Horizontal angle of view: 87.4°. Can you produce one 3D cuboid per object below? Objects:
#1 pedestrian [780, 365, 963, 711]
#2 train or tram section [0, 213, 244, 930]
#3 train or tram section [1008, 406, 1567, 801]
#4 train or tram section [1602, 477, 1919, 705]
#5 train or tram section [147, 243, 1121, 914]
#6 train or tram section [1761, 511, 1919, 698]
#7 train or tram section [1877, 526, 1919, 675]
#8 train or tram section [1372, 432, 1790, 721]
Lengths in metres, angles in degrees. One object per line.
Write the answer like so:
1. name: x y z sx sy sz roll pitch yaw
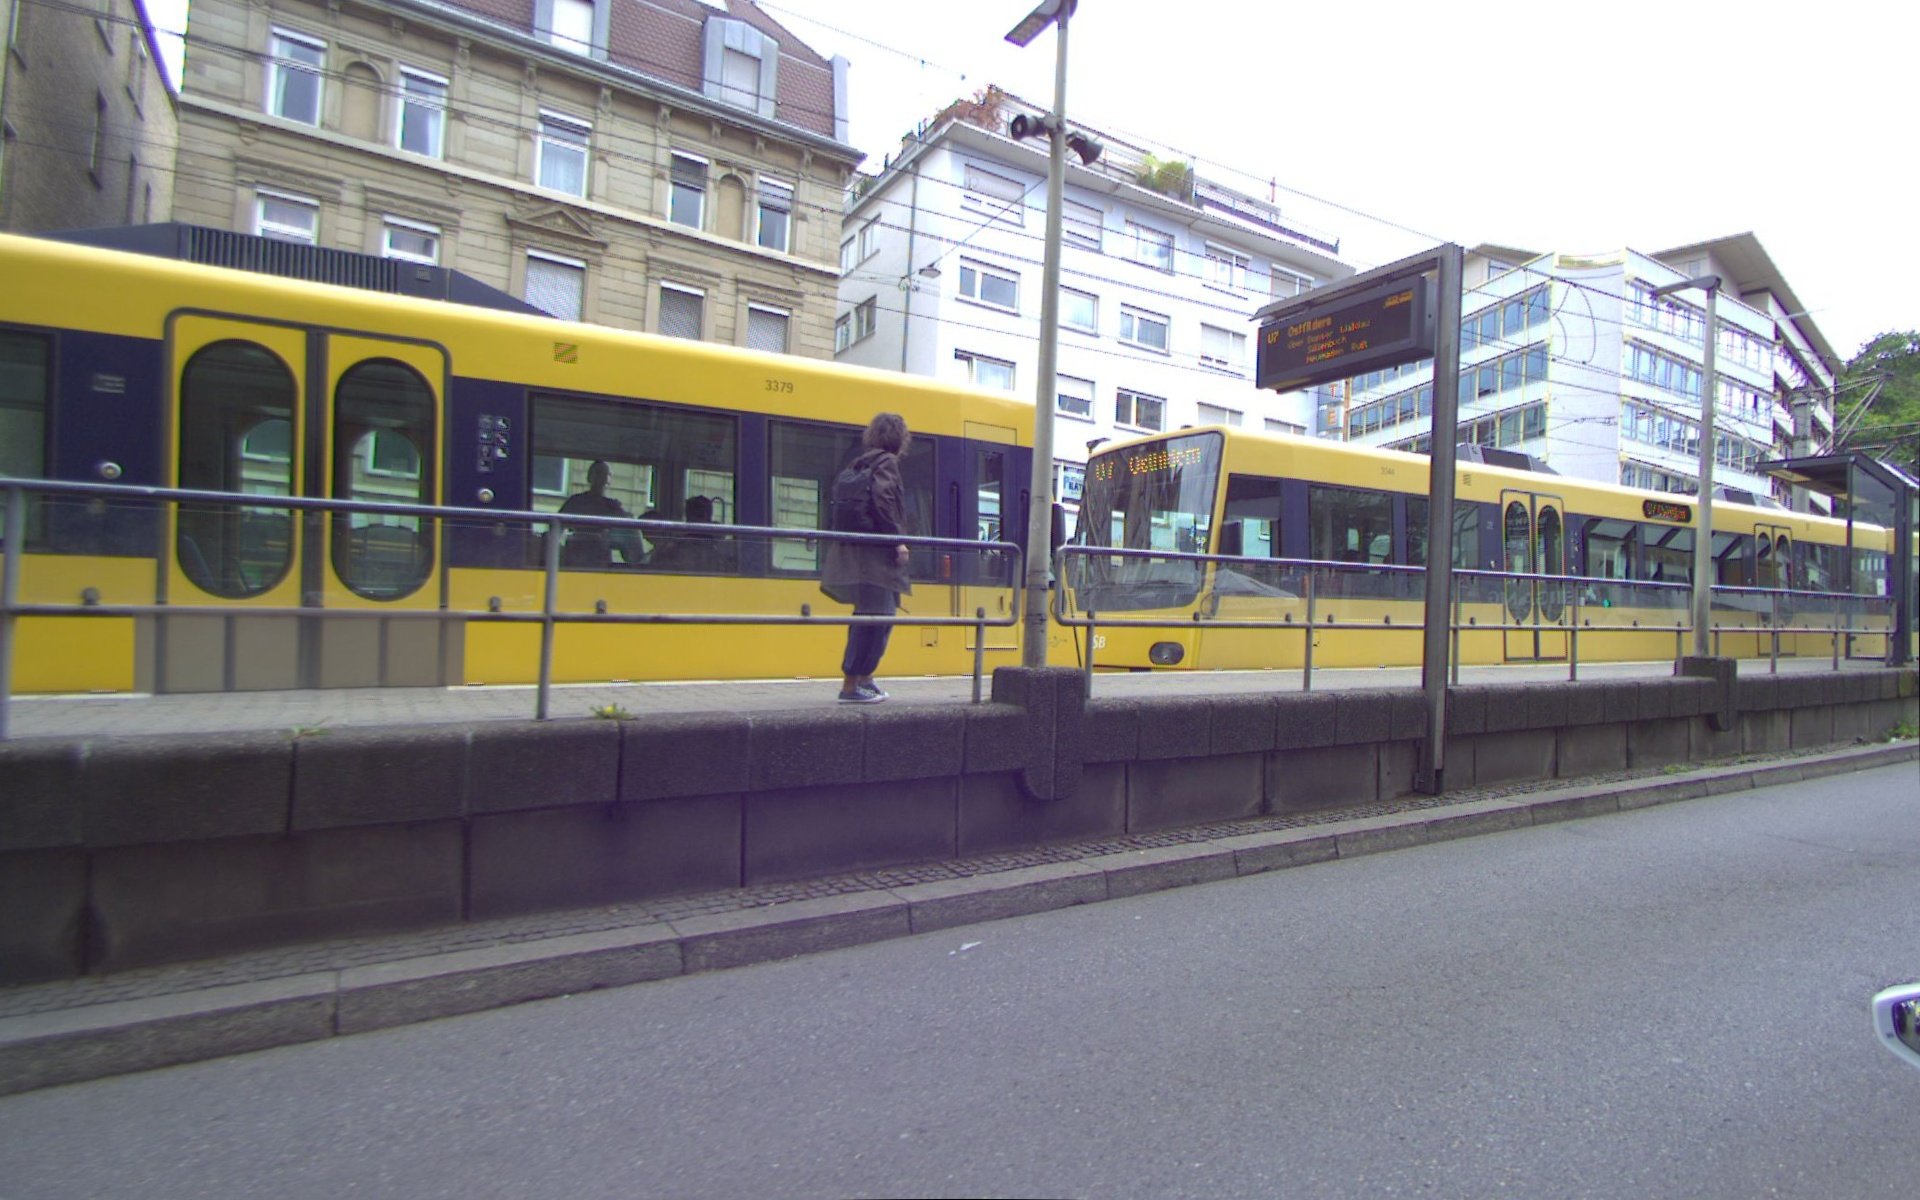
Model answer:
1. pedestrian: -0.505 -0.309 5.666 0.836 1.785 0.624 1 -1 -30
2. train or tram section: -7.623 -0.233 5.314 5.831 3.715 2.800 2 0 -29
3. train or tram section: 4.177 0.132 12.388 6.674 3.715 2.799 2 0 -31
4. train or tram section: 15.627 -0.054 19.290 6.674 3.715 2.799 2 0 -31
5. train or tram section: -2.205 -0.016 8.437 6.670 3.715 2.800 2 0 -29
6. train or tram section: 21.362 0.190 22.766 6.674 3.715 2.799 2 0 -31
7. train or tram section: 27.079 0.123 26.211 6.674 3.715 2.799 2 0 -31
8. train or tram section: 9.901 -0.198 15.845 6.674 3.715 2.799 2 0 -31
